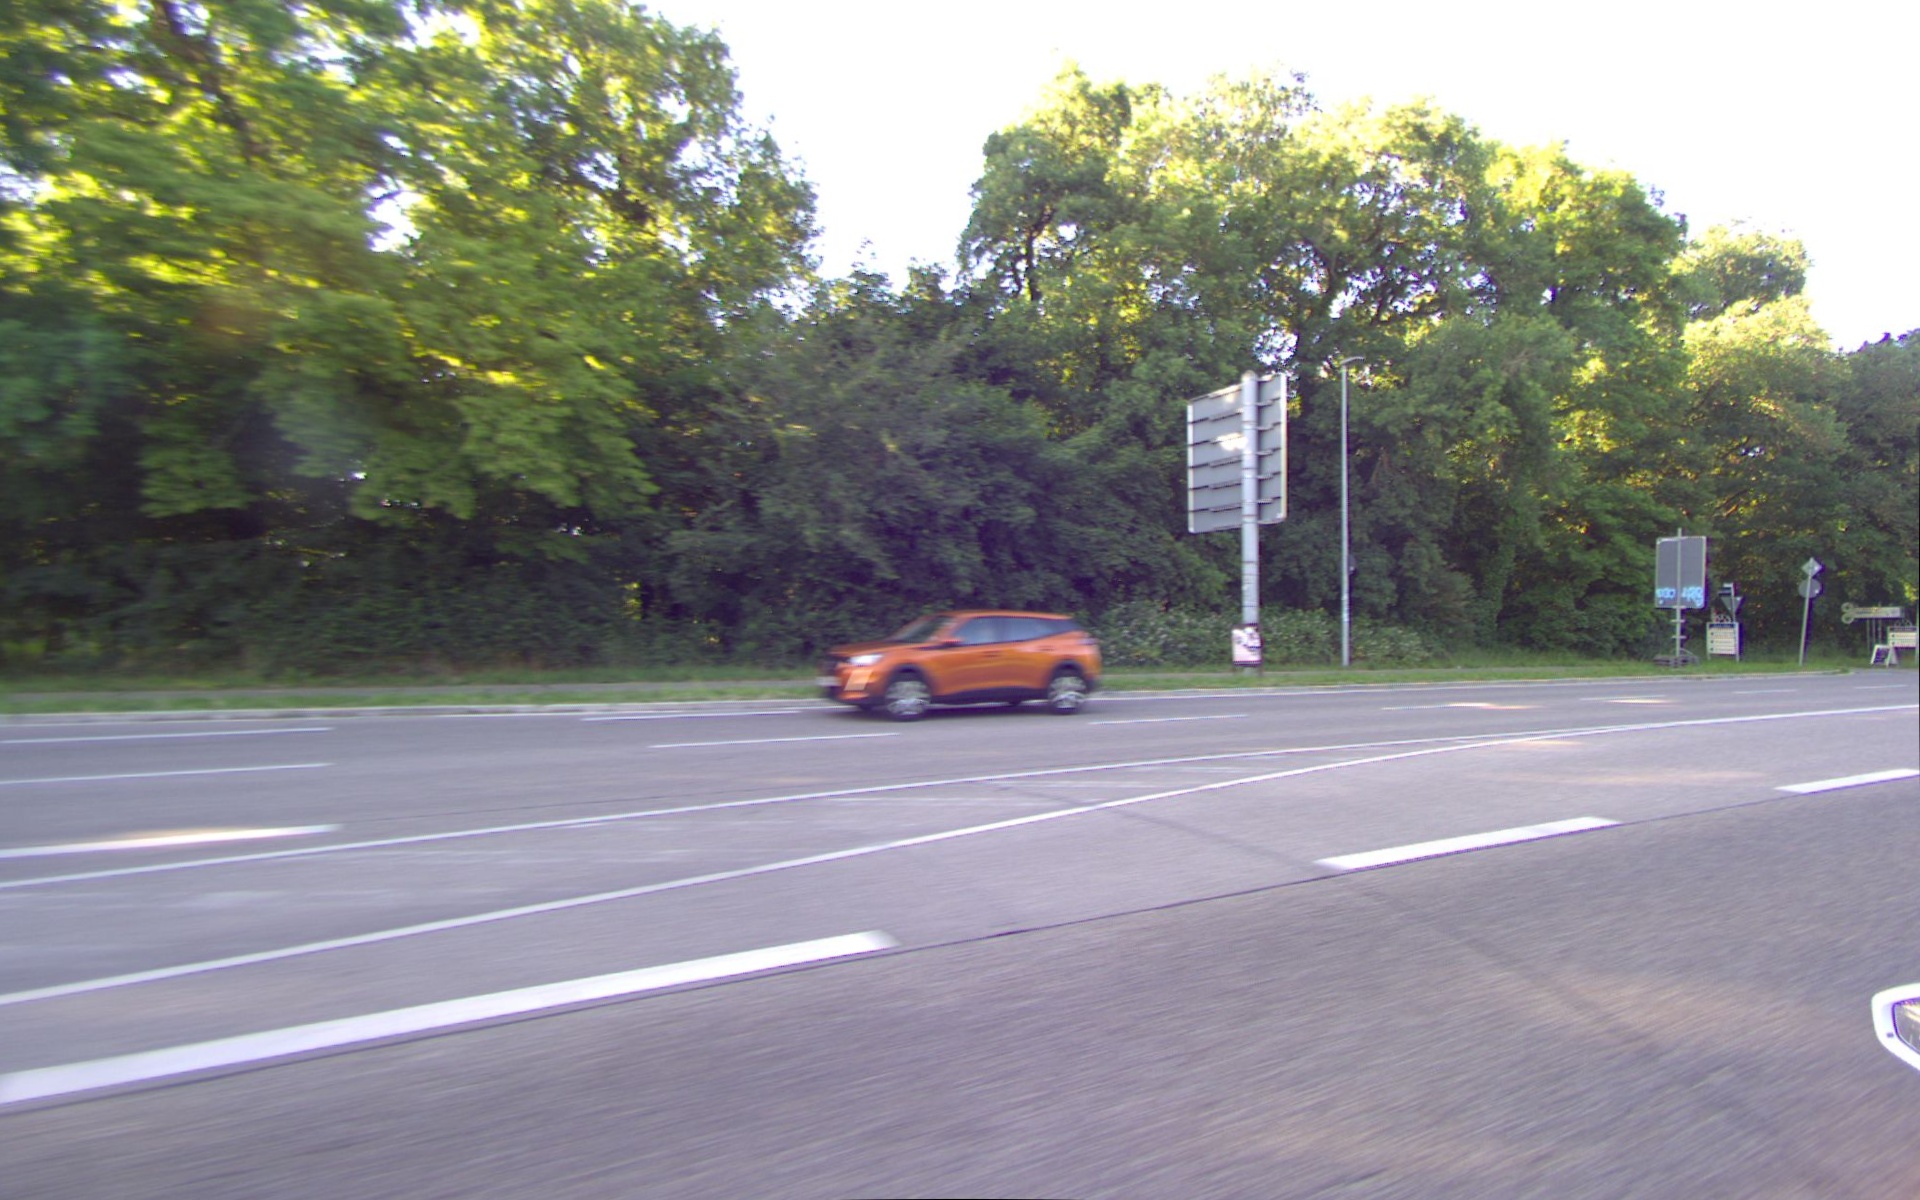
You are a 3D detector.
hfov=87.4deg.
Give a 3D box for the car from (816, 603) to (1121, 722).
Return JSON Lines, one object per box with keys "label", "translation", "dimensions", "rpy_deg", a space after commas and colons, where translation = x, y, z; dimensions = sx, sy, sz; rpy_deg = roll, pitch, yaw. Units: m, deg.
{"label": "car", "translation": [0.148, 0.876, 14.984], "dimensions": [4.201, 1.565, 1.819], "rpy_deg": [1, -1, -27]}
